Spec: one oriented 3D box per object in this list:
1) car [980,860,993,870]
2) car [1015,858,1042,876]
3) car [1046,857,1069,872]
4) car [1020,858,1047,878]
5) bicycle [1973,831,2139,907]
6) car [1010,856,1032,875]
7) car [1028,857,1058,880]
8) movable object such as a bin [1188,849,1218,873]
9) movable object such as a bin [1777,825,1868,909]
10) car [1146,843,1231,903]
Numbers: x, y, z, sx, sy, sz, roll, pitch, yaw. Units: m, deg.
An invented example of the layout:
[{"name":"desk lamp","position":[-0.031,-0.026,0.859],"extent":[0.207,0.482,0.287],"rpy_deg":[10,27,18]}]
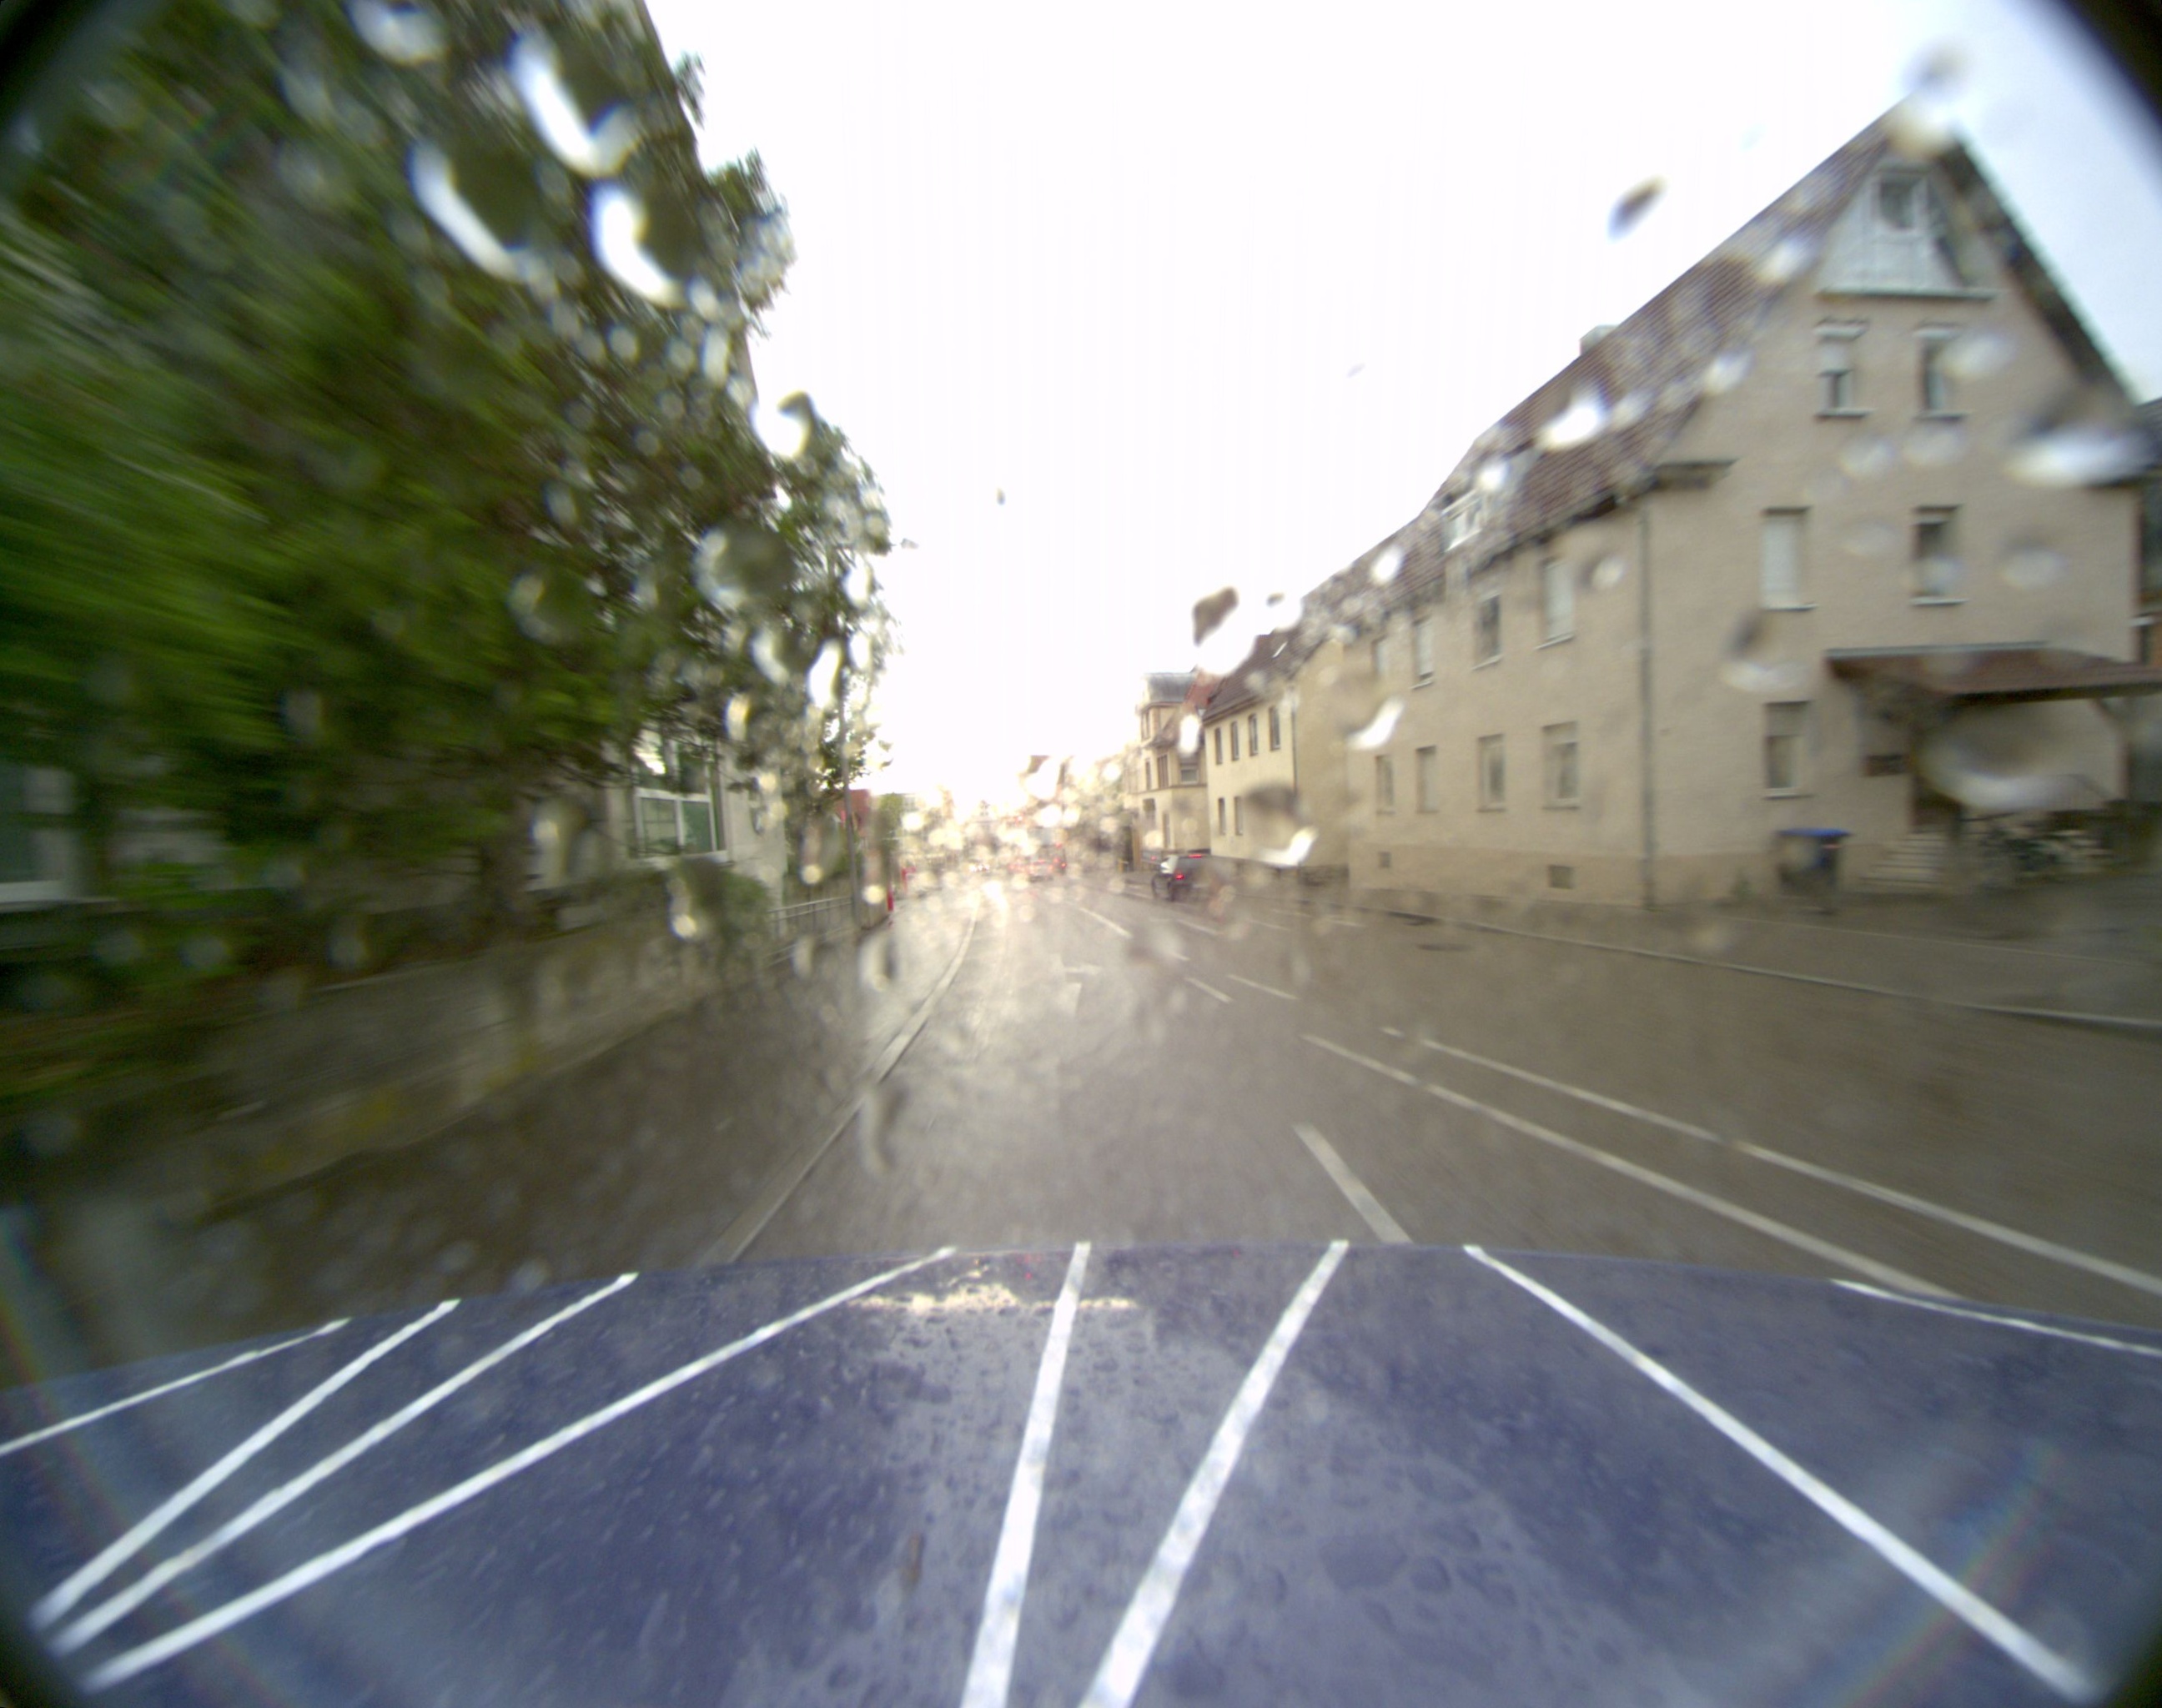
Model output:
[{"name":"car","position":[-15.478,1.765,124.415],"extent":[1.728,1.538,3.996],"rpy_deg":[-4,0,-11]},{"name":"car","position":[-4.734,1.149,67.402],"extent":[1.947,1.432,5.012],"rpy_deg":[-4,0,-8]},{"name":"car","position":[-2.347,1.022,74.767],"extent":[1.743,1.346,4.057],"rpy_deg":[-4,0,-8]},{"name":"car","position":[-3.867,1.085,61.454],"extent":[1.805,1.431,4.686],"rpy_deg":[-4,0,-8]},{"name":"bicycle","position":[14.325,0.210,11.174],"extent":[1.962,0.992,0.580],"rpy_deg":[-3,1,-8]},{"name":"car","position":[-5.896,1.094,74.576],"extent":[1.854,1.653,4.217],"rpy_deg":[-4,0,-7]},{"name":"car","position":[-2.730,1.009,53.382],"extent":[1.804,1.431,4.686],"rpy_deg":[-4,0,-6]},{"name":"movable object such as a bin","position":[6.674,0.381,41.492],"extent":[1.283,1.259,1.050],"rpy_deg":[-4,0,-9]},{"name":"movable object such as a bin","position":[11.506,0.195,11.810],"extent":[0.758,1.240,0.649],"rpy_deg":[-3,1,-7]},{"name":"car","position":[3.332,0.546,24.317],"extent":[1.750,1.562,3.811],"rpy_deg":[-7,1,-4]}]
